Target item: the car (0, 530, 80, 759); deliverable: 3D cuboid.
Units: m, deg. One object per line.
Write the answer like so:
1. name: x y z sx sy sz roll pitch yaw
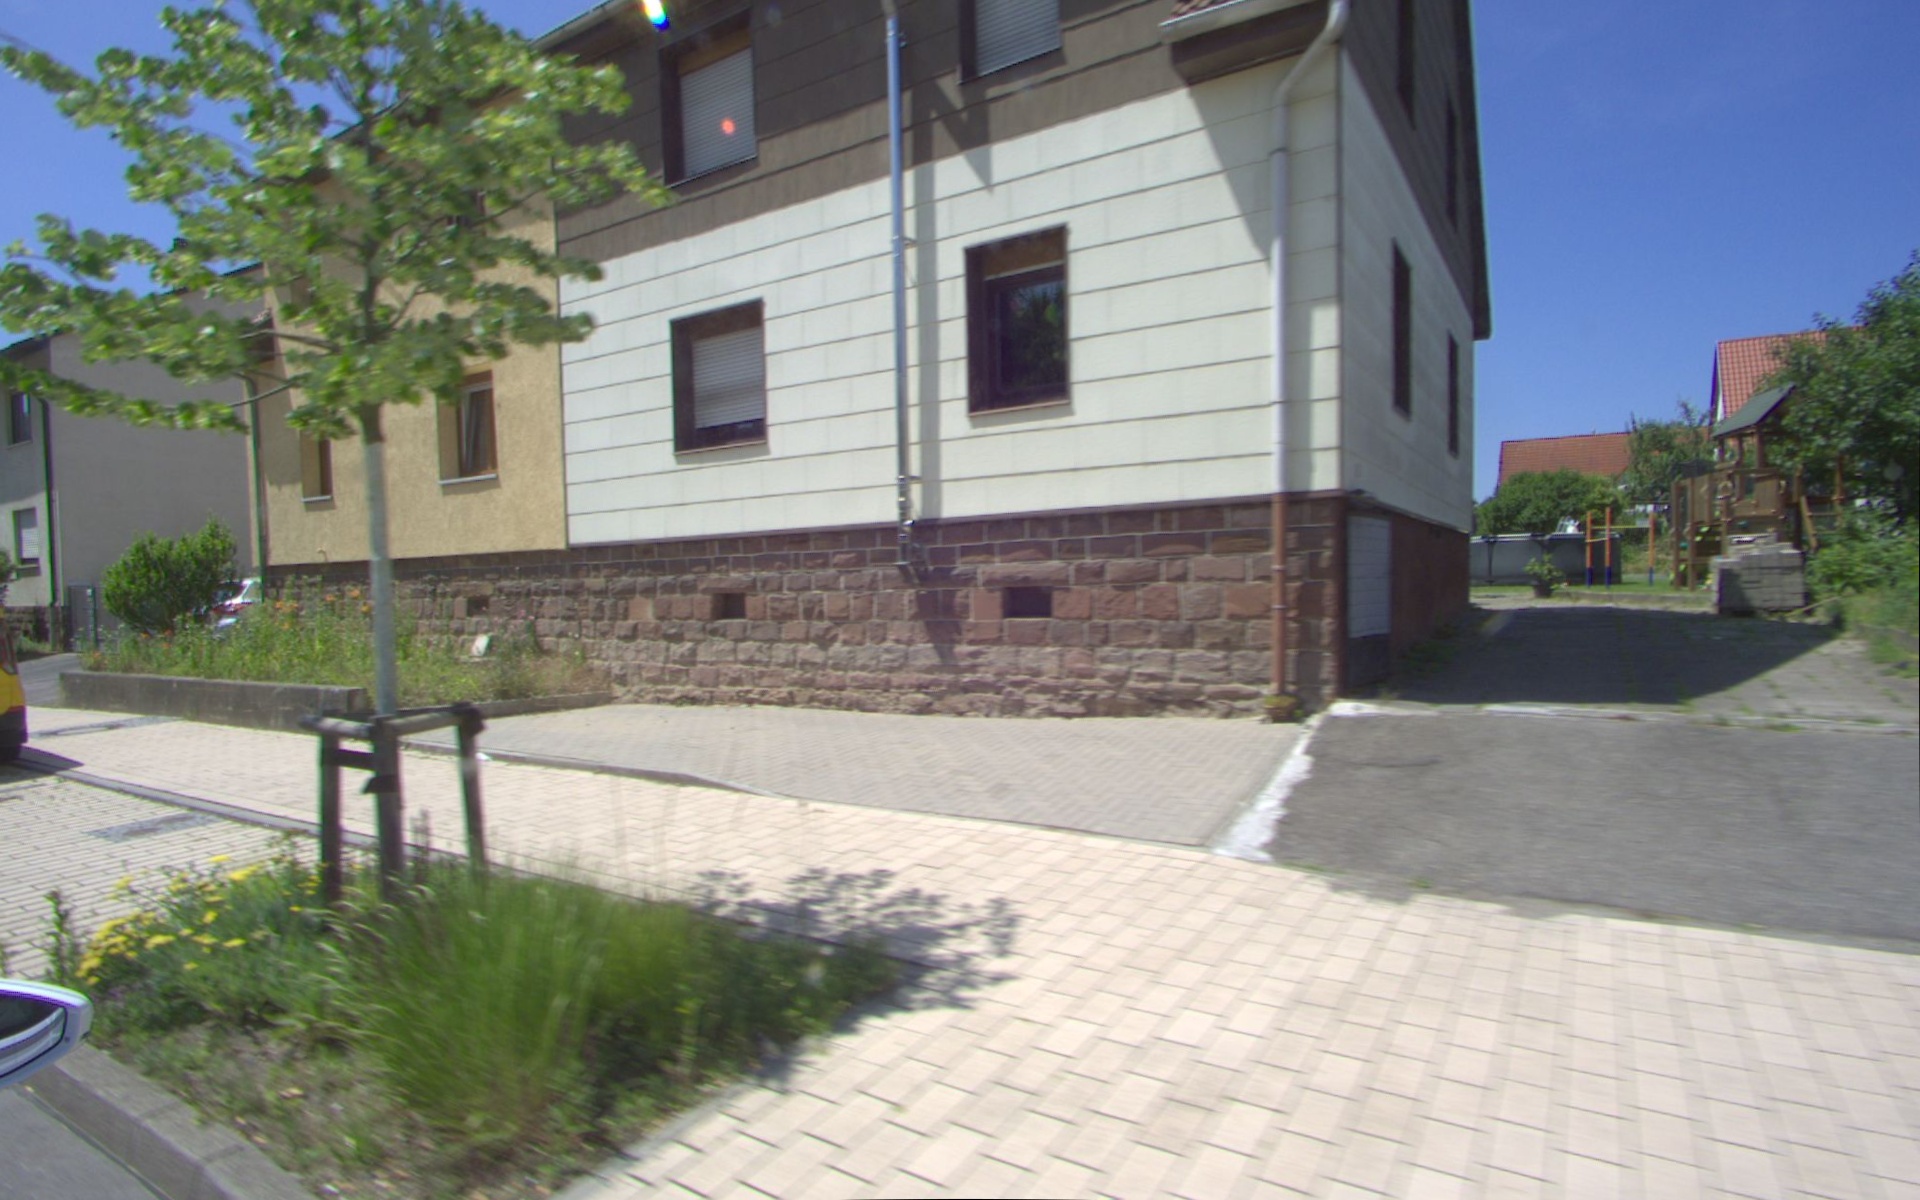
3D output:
1. car: -11.301 0.527 9.962 5.543 2.042 2.183 -2 4 32

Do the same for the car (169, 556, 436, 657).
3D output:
1. car: -13.006 0.049 20.070 1.846 1.700 3.977 -1 3 30
